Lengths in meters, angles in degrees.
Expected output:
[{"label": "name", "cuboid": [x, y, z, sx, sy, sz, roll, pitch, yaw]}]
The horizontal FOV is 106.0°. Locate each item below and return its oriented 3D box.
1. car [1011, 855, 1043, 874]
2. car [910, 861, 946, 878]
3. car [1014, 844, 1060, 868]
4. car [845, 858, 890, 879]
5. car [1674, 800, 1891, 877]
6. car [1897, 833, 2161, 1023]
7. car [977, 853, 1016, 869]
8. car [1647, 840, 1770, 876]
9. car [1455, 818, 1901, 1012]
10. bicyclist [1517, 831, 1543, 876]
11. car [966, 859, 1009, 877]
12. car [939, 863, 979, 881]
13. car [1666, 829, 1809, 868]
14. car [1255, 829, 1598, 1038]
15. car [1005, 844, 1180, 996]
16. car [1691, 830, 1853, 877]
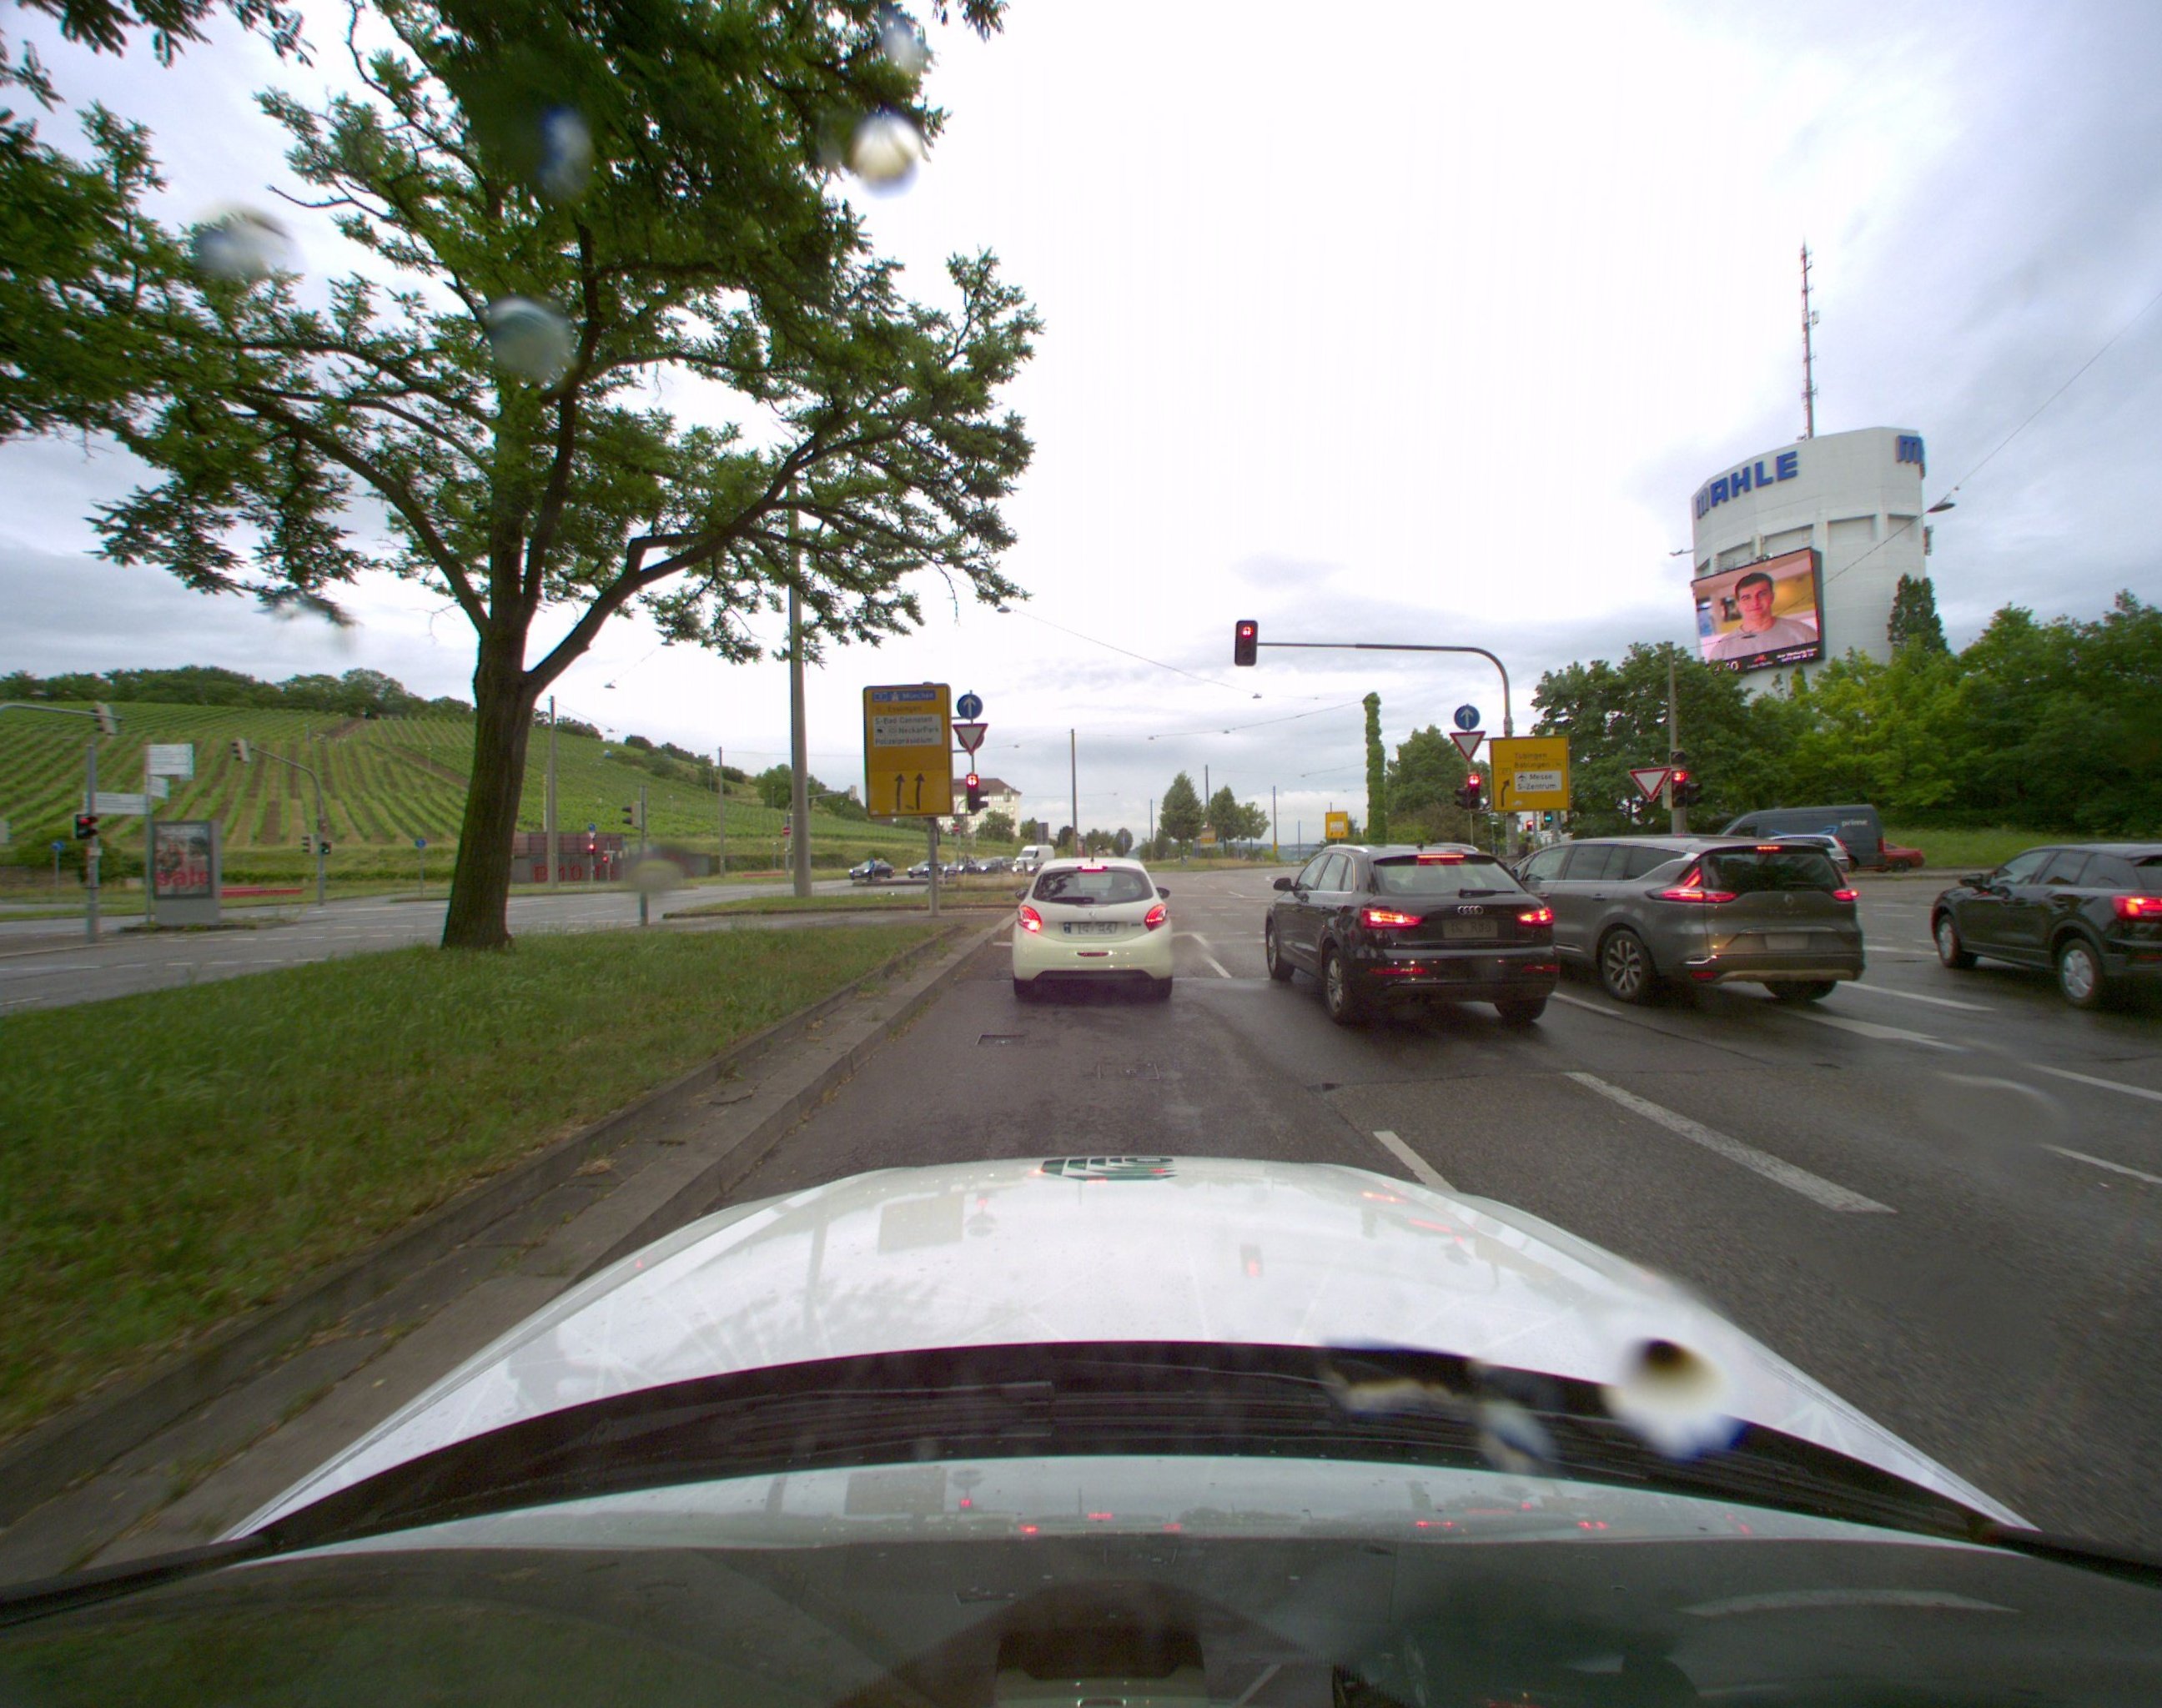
[{"label": "car", "cuboid": [-4.249, 0.813, 64.761, 1.766, 1.425, 4.382, -2, -1, 7]}, {"label": "car", "cuboid": [-12.432, 1.275, 66.340, 1.777, 1.395, 3.889, 0, -1, 7]}, {"label": "car", "cuboid": [-4.677, 0.251, 87.854, 1.975, 2.559, 6.206, 0, -1, 28]}, {"label": "car", "cuboid": [-16.785, 1.117, 64.365, 1.819, 1.623, 4.576, 0, -1, 8]}, {"label": "car", "cuboid": [26.591, -0.480, 31.244, 5.953, 2.741, 2.094, -1, -2, 28]}, {"label": "car", "cuboid": [10.378, 0.571, 8.172, 1.847, 1.498, 4.177, -2, 0, 27]}, {"label": "car", "cuboid": [-8.250, 0.695, 79.820, 1.976, 1.575, 4.218, 0, -1, 23]}, {"label": "car", "cuboid": [28.610, 0.196, 37.305, 4.094, 1.564, 1.881, -1, -1, 22]}, {"label": "car", "cuboid": [6.267, 0.507, 9.404, 1.859, 1.674, 4.566, -1, 1, 0]}, {"label": "bicyclist", "cuboid": [15.985, -0.022, 29.028, 0.801, 1.584, 1.029, 0, -1, 28]}, {"label": "car", "cuboid": [-7.972, 1.217, 70.036, 1.887, 1.489, 4.913, 0, -1, 16]}, {"label": "car", "cuboid": [-9.557, 1.406, 64.071, 1.774, 1.395, 3.894, 0, -1, 12]}, {"label": "car", "cuboid": [27.257, -0.203, 34.006, 4.327, 1.520, 1.739, -1, -1, 25]}, {"label": "car", "cuboid": [3.114, 0.629, 8.363, 1.877, 1.595, 4.114, 1, -1, 1]}, {"label": "car", "cuboid": [0.157, 0.664, 10.021, 1.712, 1.489, 4.001, -1, 0, 1]}, {"label": "car", "cuboid": [24.398, 0.038, 28.950, 4.012, 1.569, 1.881, -1, -2, 25]}]
